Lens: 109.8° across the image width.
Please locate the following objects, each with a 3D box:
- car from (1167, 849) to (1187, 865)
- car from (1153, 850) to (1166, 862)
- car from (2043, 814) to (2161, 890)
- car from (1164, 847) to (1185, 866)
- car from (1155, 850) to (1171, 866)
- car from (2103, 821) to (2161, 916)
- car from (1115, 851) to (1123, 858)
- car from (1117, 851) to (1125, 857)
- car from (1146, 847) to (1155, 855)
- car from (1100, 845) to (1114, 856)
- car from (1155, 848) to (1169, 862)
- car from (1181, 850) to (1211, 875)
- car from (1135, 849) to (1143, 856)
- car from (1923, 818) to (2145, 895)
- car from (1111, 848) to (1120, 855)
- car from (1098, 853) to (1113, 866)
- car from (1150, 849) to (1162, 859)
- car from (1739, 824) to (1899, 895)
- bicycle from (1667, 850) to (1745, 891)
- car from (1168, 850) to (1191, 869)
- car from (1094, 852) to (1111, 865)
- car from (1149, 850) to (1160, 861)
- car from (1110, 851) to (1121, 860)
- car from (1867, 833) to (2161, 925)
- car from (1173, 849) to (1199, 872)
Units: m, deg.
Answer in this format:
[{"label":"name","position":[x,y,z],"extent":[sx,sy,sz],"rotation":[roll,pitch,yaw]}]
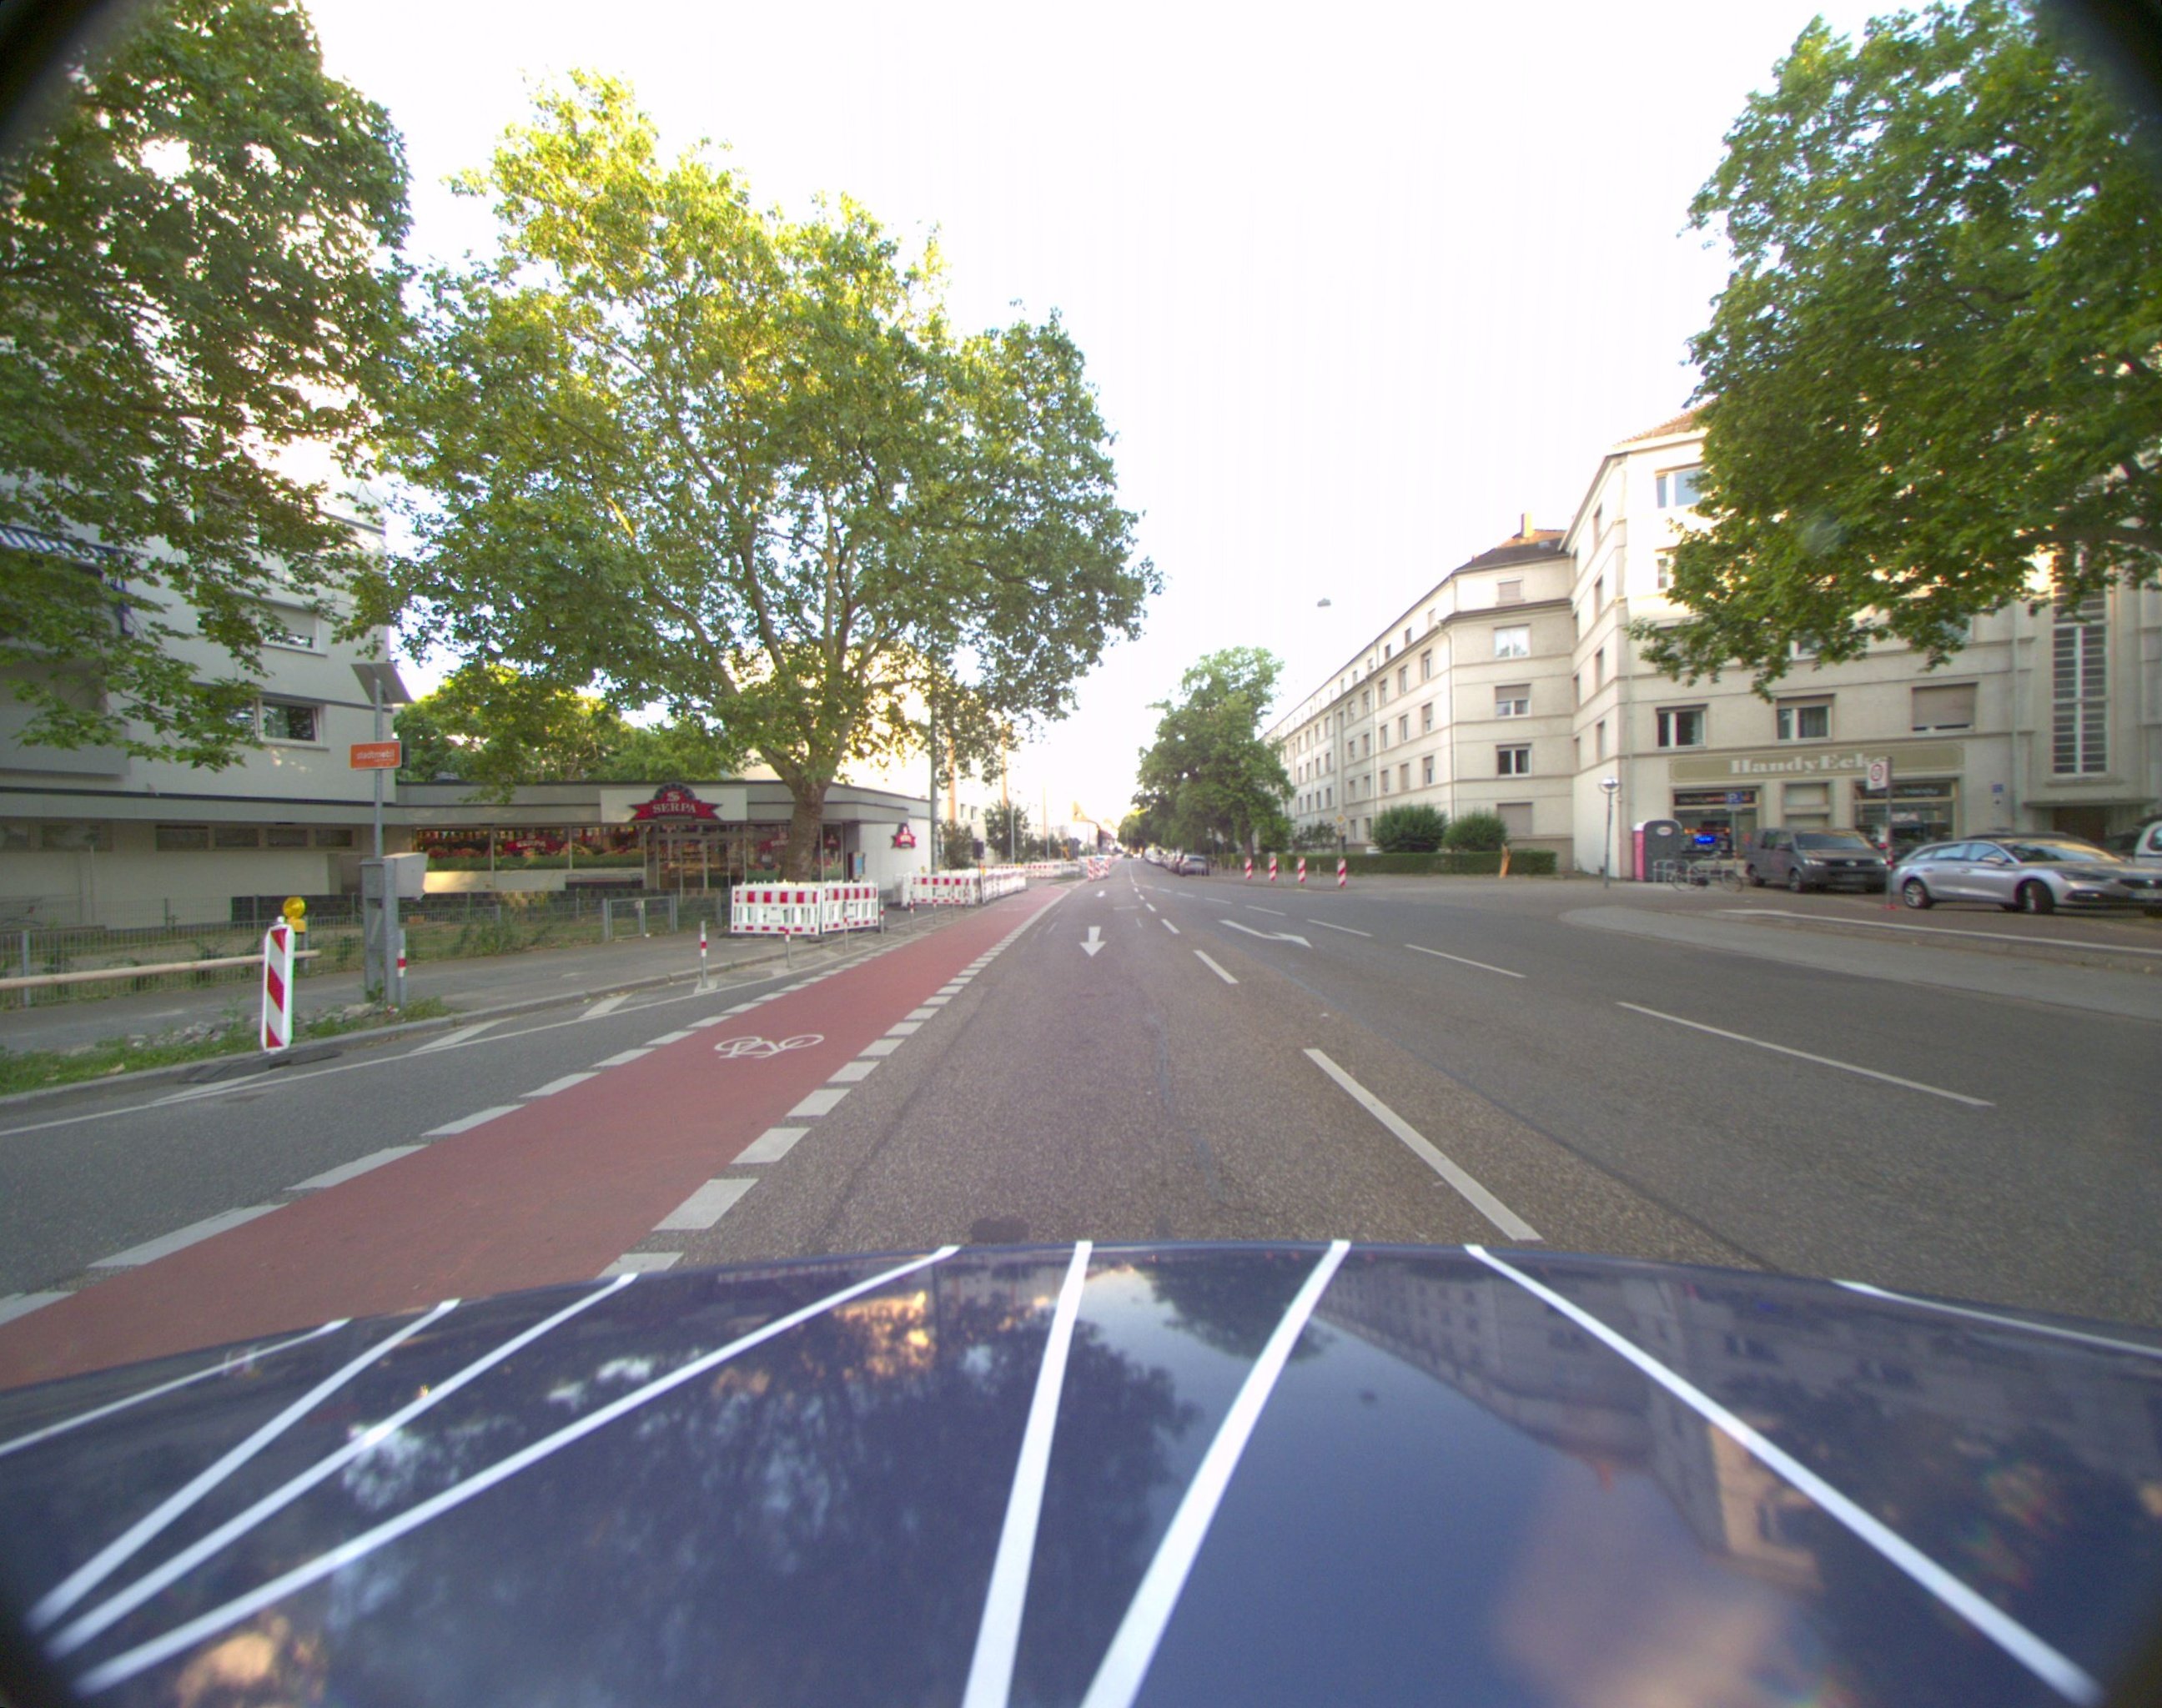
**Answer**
[{"label":"car","position":[10.196,0.284,80.940],"extent":[1.892,1.591,4.260],"rotation":[-2,1,6]},{"label":"car","position":[12.106,0.292,117.882],"extent":[1.892,1.591,4.260],"rotation":[-2,1,6]},{"label":"car","position":[29.618,-0.109,20.840],"extent":[1.995,1.945,4.646],"rotation":[0,3,23]},{"label":"car","position":[9.274,0.235,75.419],"extent":[1.892,1.764,4.260],"rotation":[-2,1,6]},{"label":"car","position":[10.688,0.490,99.246],"extent":[1.892,1.815,4.260],"rotation":[-2,1,6]},{"label":"car","position":[20.612,0.257,12.723],"extent":[1.995,1.771,4.648],"rotation":[0,-1,21]},{"label":"car","position":[9.773,0.187,196.497],"extent":[1.892,1.591,4.260],"rotation":[-2,1,6]},{"label":"car","position":[10.823,0.035,205.685],"extent":[1.892,1.591,4.260],"rotation":[-2,1,6]},{"label":"car","position":[15.176,-0.766,166.086],"extent":[1.892,1.591,4.260],"rotation":[-2,1,6]},{"label":"car","position":[4.169,-0.544,121.841],"extent":[1.892,1.651,4.260],"rotation":[-2,1,6]},{"label":"car","position":[11.537,0.145,108.210],"extent":[1.892,1.855,4.260],"rotation":[-2,1,6]},{"label":"car","position":[8.113,0.597,53.897],"extent":[1.892,1.591,4.001],"rotation":[-2,1,6]},{"label":"car","position":[17.476,-0.392,229.739],"extent":[1.999,1.838,3.999],"rotation":[-2,1,-1]},{"label":"car","position":[27.120,-0.034,21.928],"extent":[1.995,1.945,4.646],"rotation":[0,3,23]},{"label":"car","position":[8.468,-0.687,184.840],"extent":[1.892,1.591,4.260],"rotation":[-2,1,6]},{"label":"car","position":[3.685,0.823,113.332],"extent":[1.892,1.726,4.260],"rotation":[-2,1,6]},{"label":"car","position":[13.119,-0.066,132.803],"extent":[1.892,1.591,4.260],"rotation":[-2,1,6]},{"label":"car","position":[22.614,0.068,23.565],"extent":[1.995,1.945,4.646],"rotation":[0,3,23]},{"label":"bicycle","position":[19.403,0.518,23.624],"extent":[1.802,1.199,0.648],"rotation":[-1,2,33]},{"label":"car","position":[9.003,0.458,69.473],"extent":[1.892,1.591,4.260],"rotation":[-2,1,6]},{"label":"car","position":[2.874,0.598,101.043],"extent":[1.892,1.591,4.260],"rotation":[-2,1,6]},{"label":"car","position":[13.859,0.282,143.350],"extent":[1.892,1.868,4.946],"rotation":[-2,1,6]},{"label":"car","position":[7.158,0.321,156.240],"extent":[1.892,1.591,4.260],"rotation":[-2,1,6]},{"label":"car","position":[18.136,0.435,14.684],"extent":[1.996,1.494,4.647],"rotation":[0,-1,15]},{"label":"car","position":[8.550,0.535,62.184],"extent":[1.892,1.681,4.260],"rotation":[-2,1,6]}]
